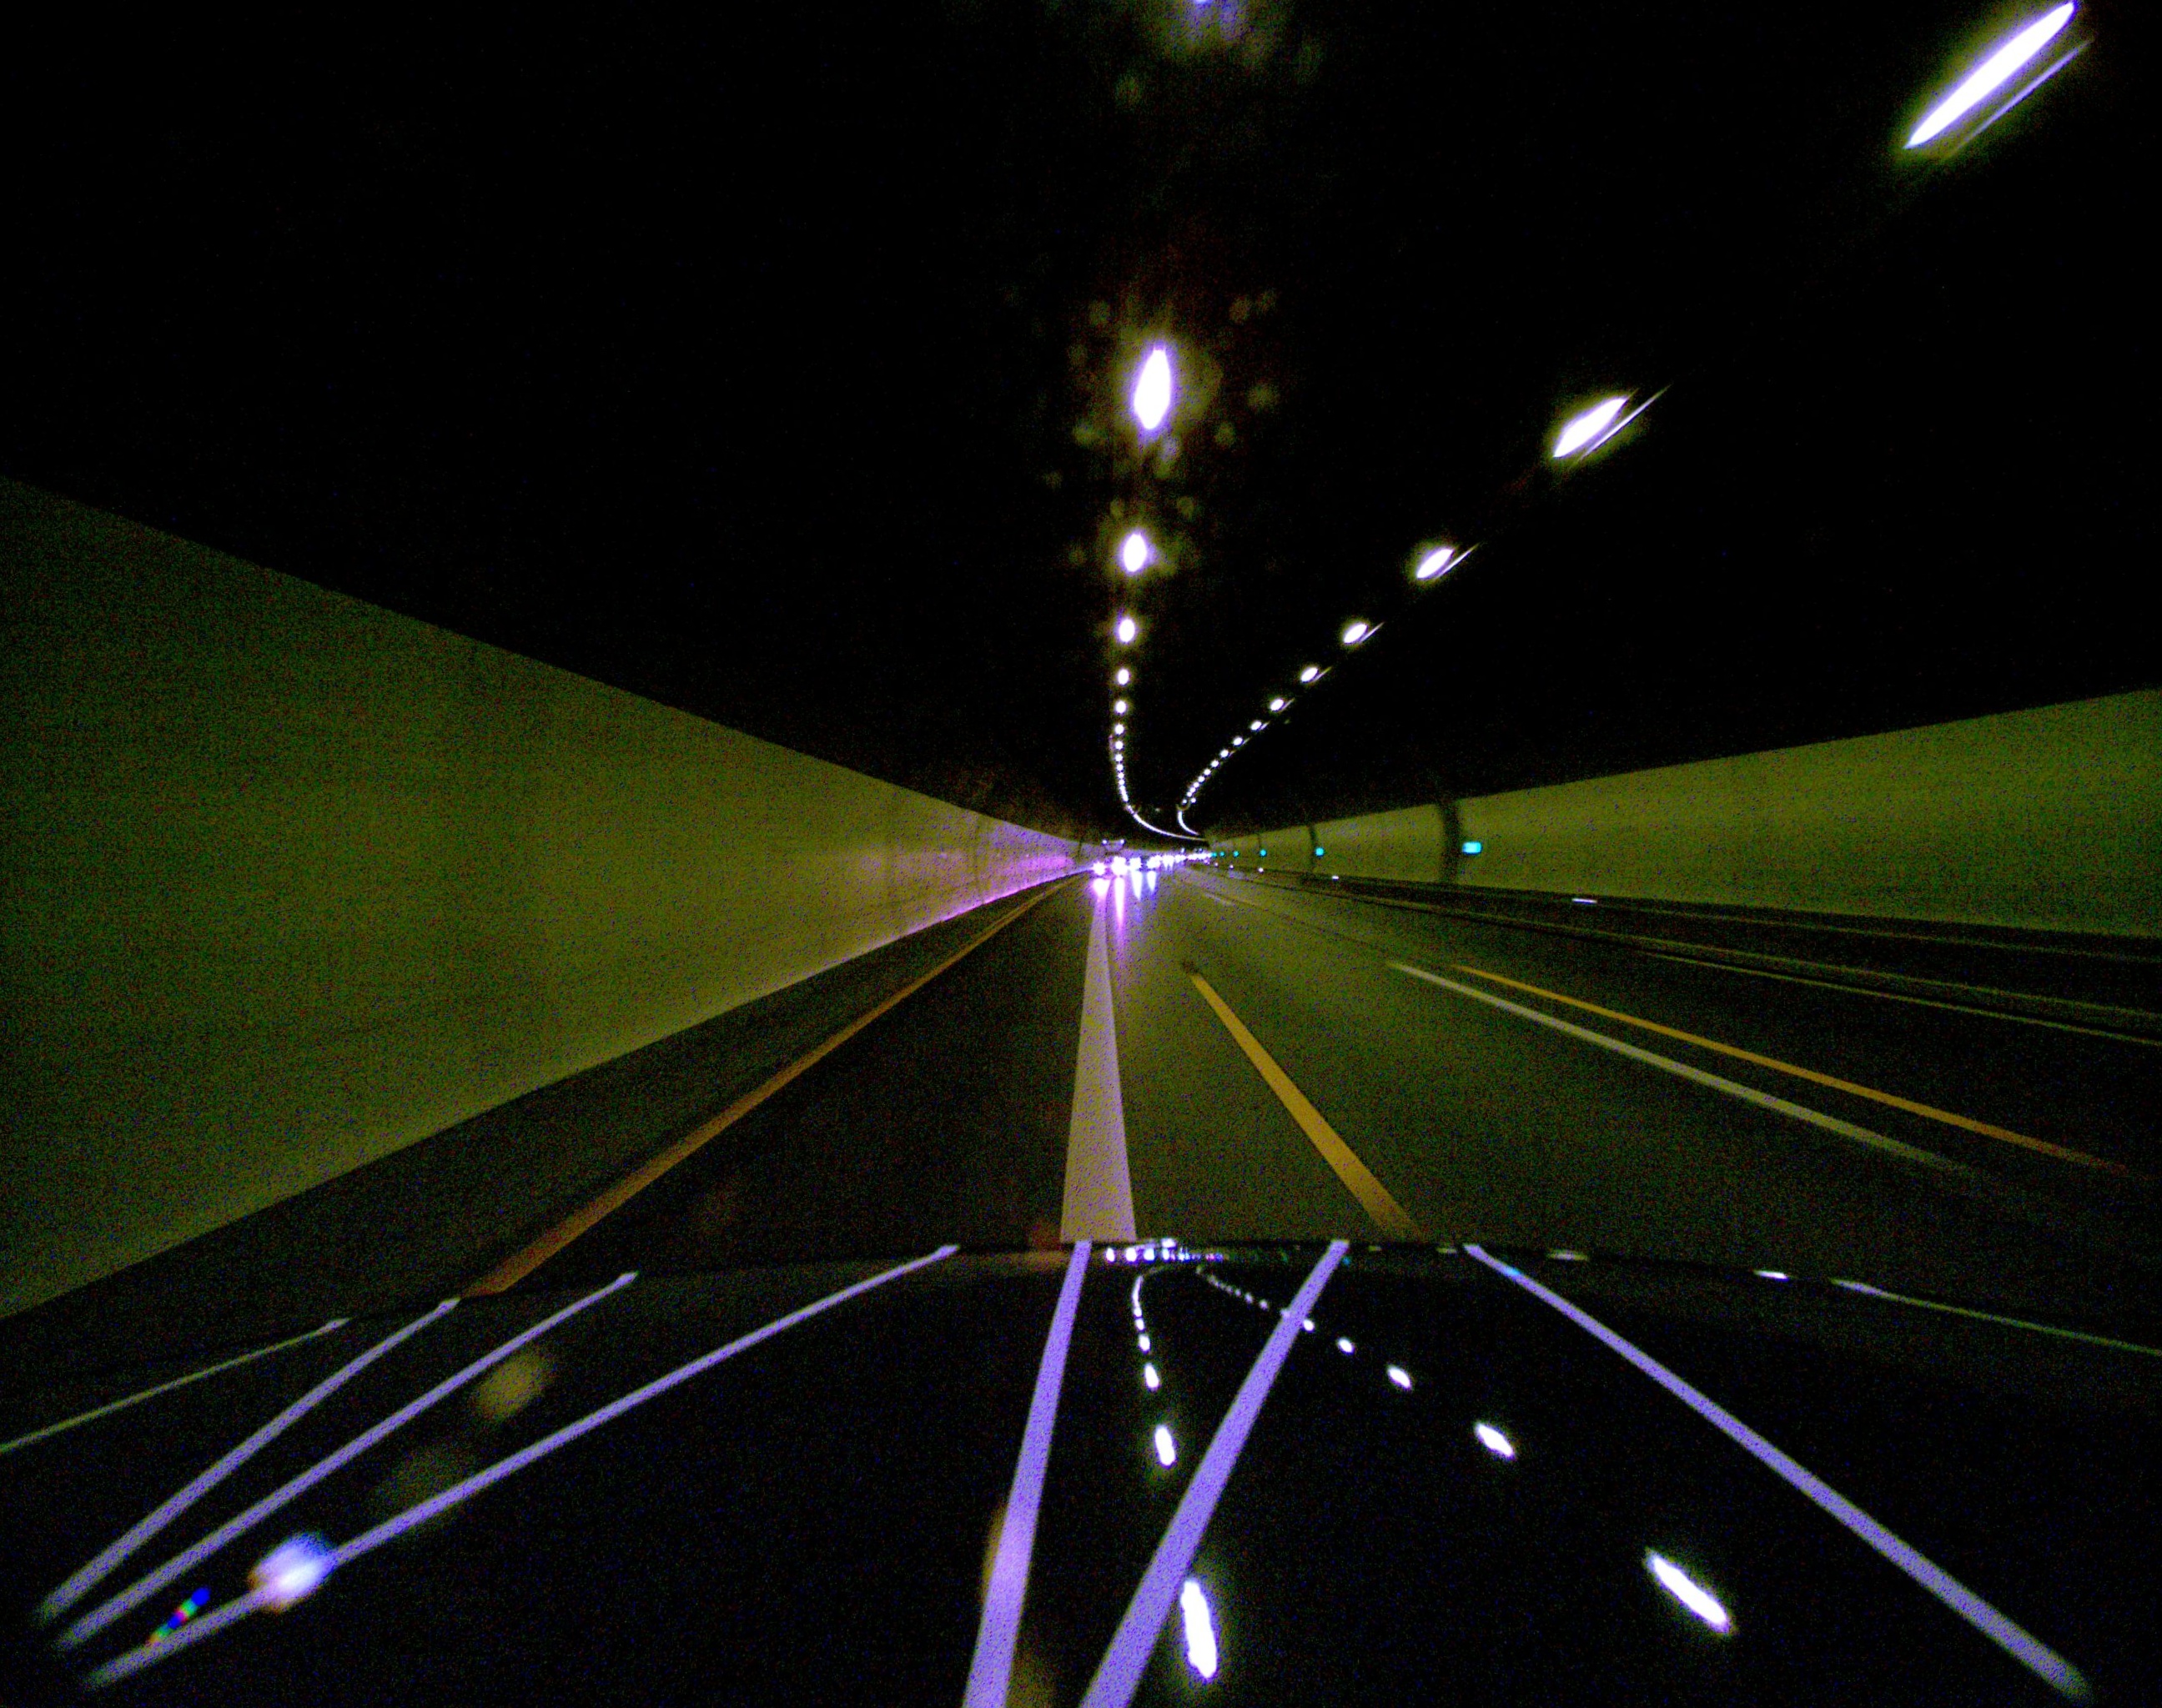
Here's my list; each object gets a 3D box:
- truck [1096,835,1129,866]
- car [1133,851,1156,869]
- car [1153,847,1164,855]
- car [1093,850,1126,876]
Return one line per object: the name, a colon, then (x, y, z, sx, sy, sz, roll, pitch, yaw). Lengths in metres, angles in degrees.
truck: (3.585, -0.365, 84.092, 2.988, 3.161, 10.512, -1, 0, 5)
car: (6.077, 0.558, 72.748, 1.998, 1.655, 4.001, -2, 0, 5)
car: (18.570, -0.645, 182.017, 1.996, 1.917, 4.389, -1, 0, 13)
car: (2.092, 0.639, 54.519, 2.171, 1.709, 4.483, -1, 0, 4)
